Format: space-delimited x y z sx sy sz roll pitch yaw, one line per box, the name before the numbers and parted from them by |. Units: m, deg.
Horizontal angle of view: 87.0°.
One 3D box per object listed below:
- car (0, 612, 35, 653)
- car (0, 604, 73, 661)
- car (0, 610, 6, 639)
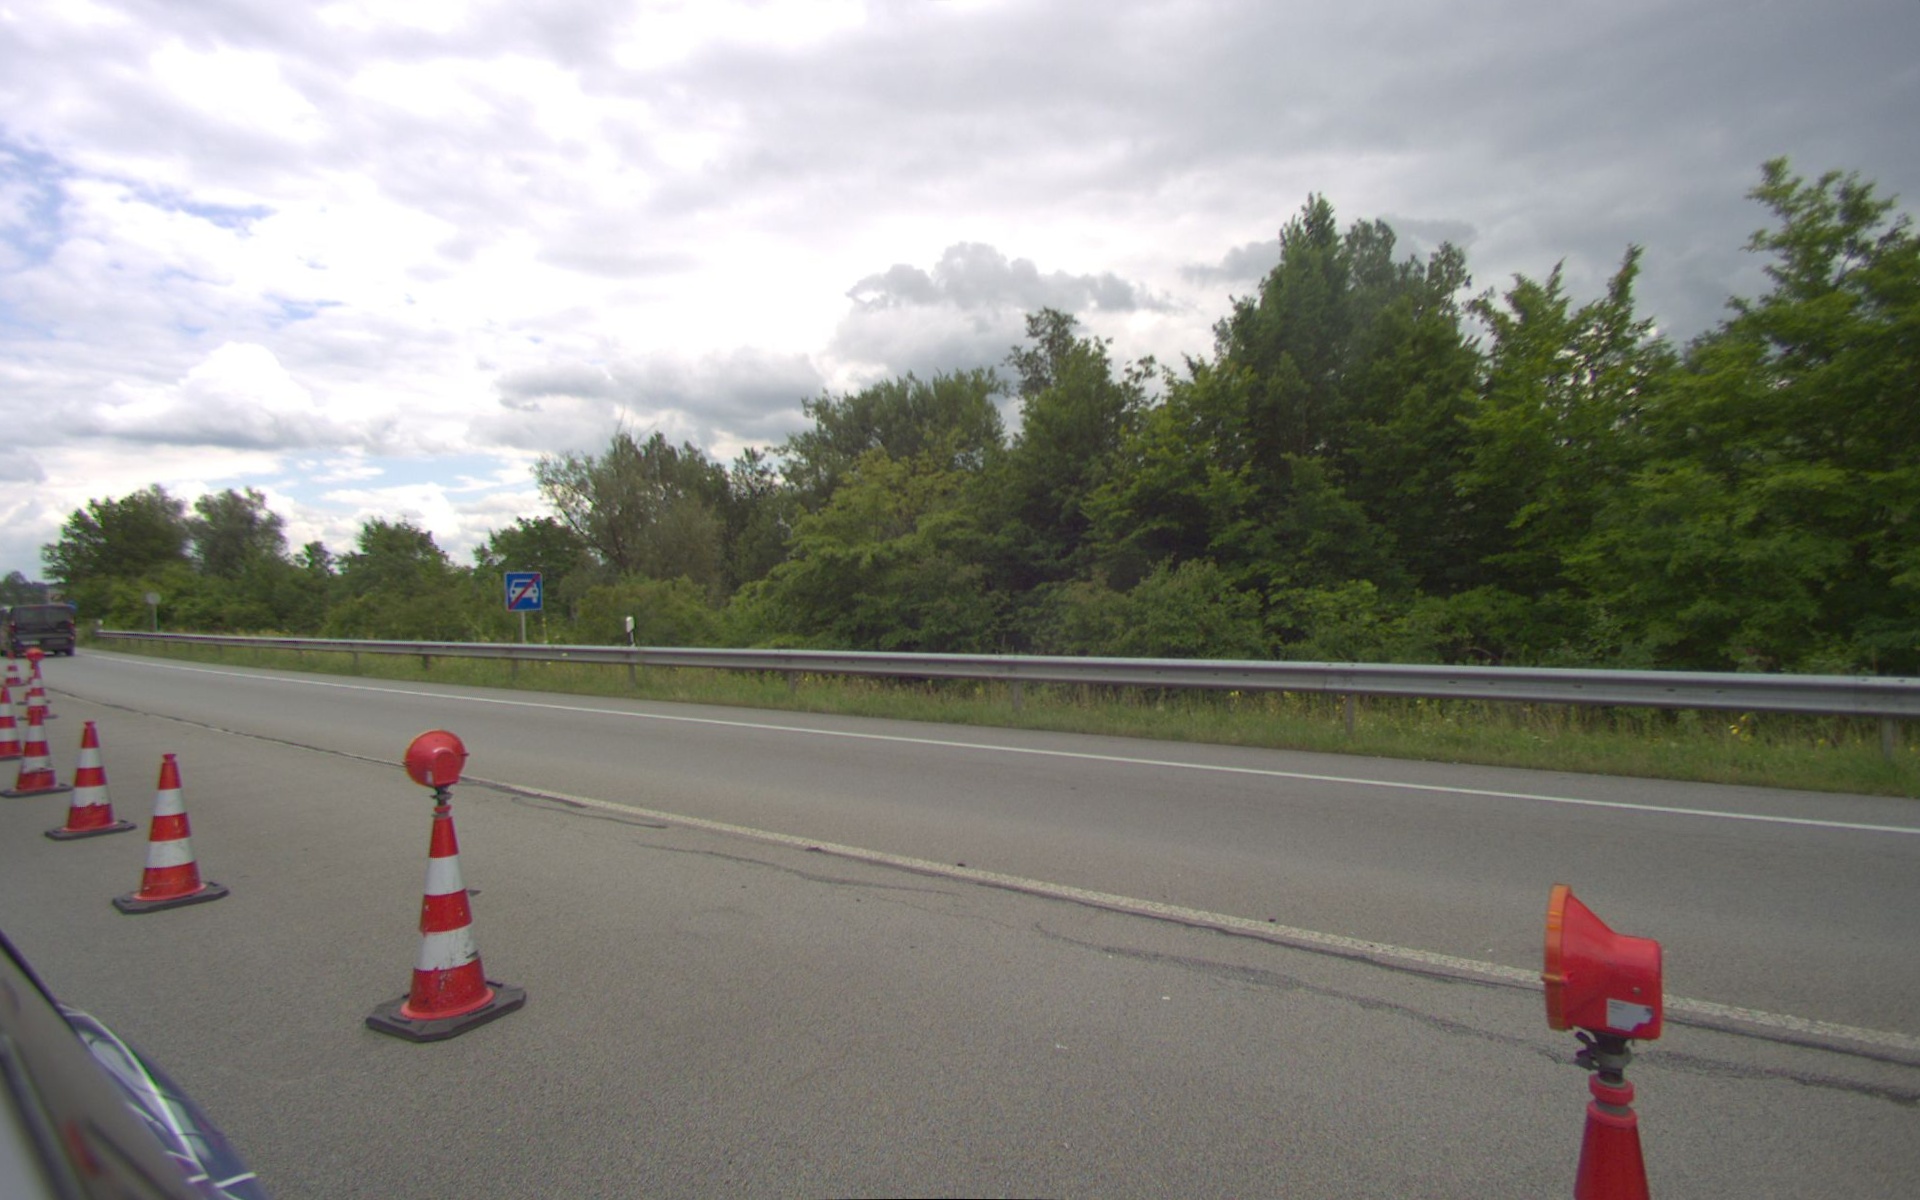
car | -46.299 1.569 48.981 4.533 1.898 1.945 -1 -1 44
car | -35.004 1.190 38.100 5.317 2.002 2.006 -1 -1 44
car | -63.585 1.614 65.853 4.533 1.844 1.903 -1 -1 43
